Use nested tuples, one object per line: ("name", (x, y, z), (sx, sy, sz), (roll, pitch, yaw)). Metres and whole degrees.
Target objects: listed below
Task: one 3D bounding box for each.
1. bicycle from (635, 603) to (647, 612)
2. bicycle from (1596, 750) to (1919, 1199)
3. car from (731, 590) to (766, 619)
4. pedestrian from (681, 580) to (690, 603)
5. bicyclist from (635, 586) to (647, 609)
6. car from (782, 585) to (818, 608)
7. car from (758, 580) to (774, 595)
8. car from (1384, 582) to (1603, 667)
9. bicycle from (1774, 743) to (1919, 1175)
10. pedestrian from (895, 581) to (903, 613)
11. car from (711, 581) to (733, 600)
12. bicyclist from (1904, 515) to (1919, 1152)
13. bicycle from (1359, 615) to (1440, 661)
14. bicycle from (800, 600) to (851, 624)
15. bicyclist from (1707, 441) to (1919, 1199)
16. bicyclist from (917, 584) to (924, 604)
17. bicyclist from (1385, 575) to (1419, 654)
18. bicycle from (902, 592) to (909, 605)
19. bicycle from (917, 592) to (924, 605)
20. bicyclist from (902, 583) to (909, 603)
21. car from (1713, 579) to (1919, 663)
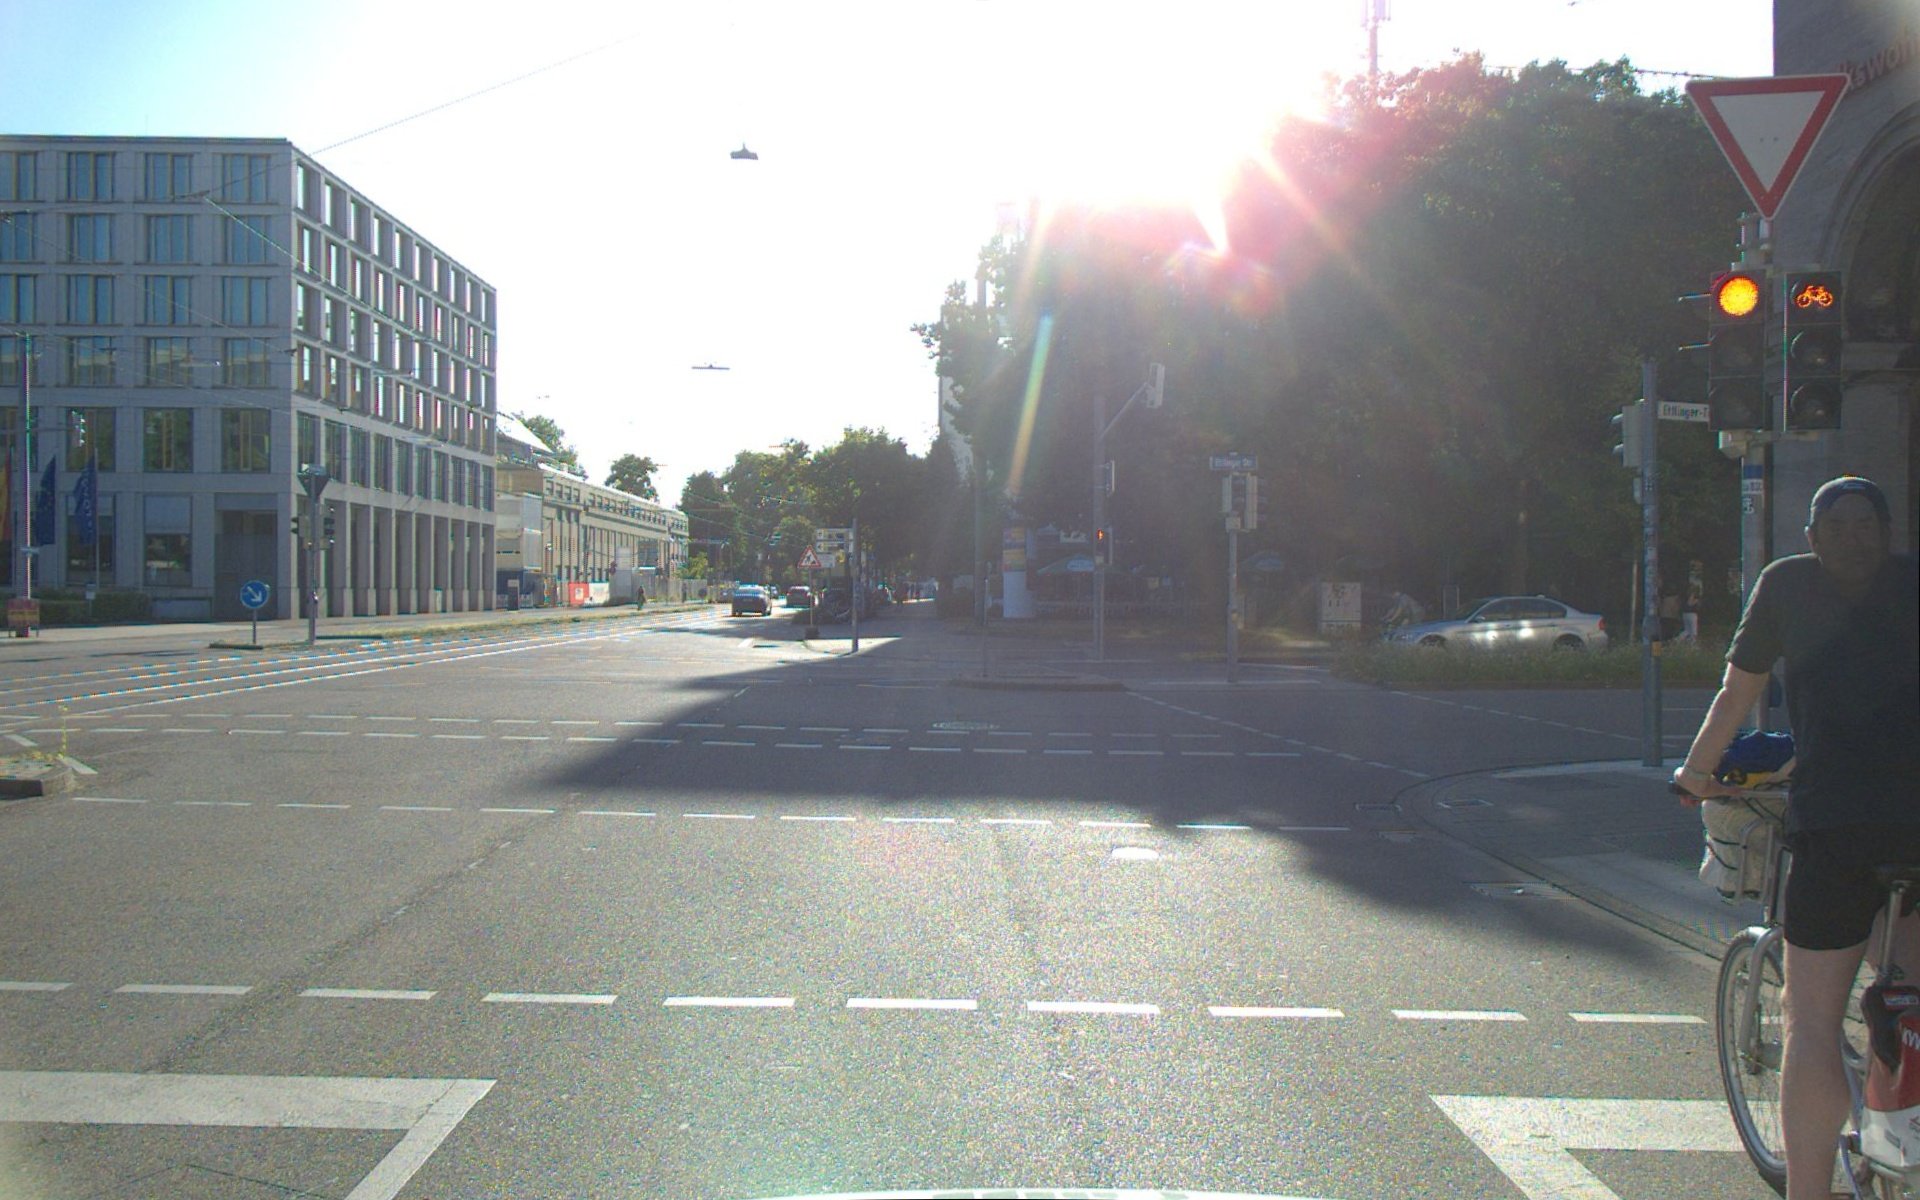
("bicycle", (-19.586, 0.462, 101.613), (0.491, 0.524, 1.257), (1, 0, -1))
("bicycle", (2.071, 0.987, 3.891), (0.505, 1.096, 1.728), (1, 0, 1))
("car", (-11.021, 0.222, 86.386), (1.628, 1.481, 4.427), (1, 0, -5))
("pedestrian", (-25.133, -0.770, 151.556), (0.660, 2.049, 0.751), (1, -1, -3))
("bicyclist", (-19.578, -0.166, 101.607), (0.584, 1.401, 0.637), (1, -1, -2))
("car", (-11.587, -0.265, 120.017), (1.853, 1.592, 4.810), (3, 1, 3))
("car", (-22.828, -1.448, 194.364), (1.659, 1.748, 4.244), (1, 0, -4))
("car", (10.771, 0.480, 33.563), (3.912, 1.639, 1.650), (0, 0, -1))
("bicycle", (2.859, 1.006, 4.339), (0.523, 1.096, 1.750), (1, 0, -2))
("pedestrian", (-3.613, -0.170, 97.670), (0.454, 1.845, 0.502), (0, 0, -5))
("car", (-22.470, -0.907, 156.115), (1.659, 1.748, 4.244), (1, 0, -4))
("bicyclist", (2.883, 0.633, 4.232), (0.546, 1.721, 0.640), (1, 0, -2))
("bicycle", (9.602, 0.826, 36.169), (1.631, 0.980, 0.534), (0, 0, 5))
("bicycle", (-5.487, 0.506, 67.385), (1.976, 0.907, 0.650), (-2, -1, 27))
("bicyclist", (2.090, 0.584, 3.733), (0.547, 1.830, 0.550), (1, 0, 1))
("bicyclist", (-3.476, -0.556, 145.350), (0.558, 1.721, 0.699), (0, 0, -1))
("bicyclist", (9.658, 0.324, 36.161), (0.630, 1.712, 0.507), (0, 0, 5))
("bicycle", (-4.765, -0.152, 145.156), (0.563, 1.096, 1.830), (0, 0, -1))
("bicycle", (-3.471, -0.129, 145.292), (0.563, 1.096, 1.830), (0, 0, -1))
("bicyclist", (-4.774, -0.627, 145.214), (0.558, 1.721, 0.699), (0, 0, -1))
("car", (17.533, 0.410, 33.552), (3.770, 1.639, 1.650), (0, 0, -1))
